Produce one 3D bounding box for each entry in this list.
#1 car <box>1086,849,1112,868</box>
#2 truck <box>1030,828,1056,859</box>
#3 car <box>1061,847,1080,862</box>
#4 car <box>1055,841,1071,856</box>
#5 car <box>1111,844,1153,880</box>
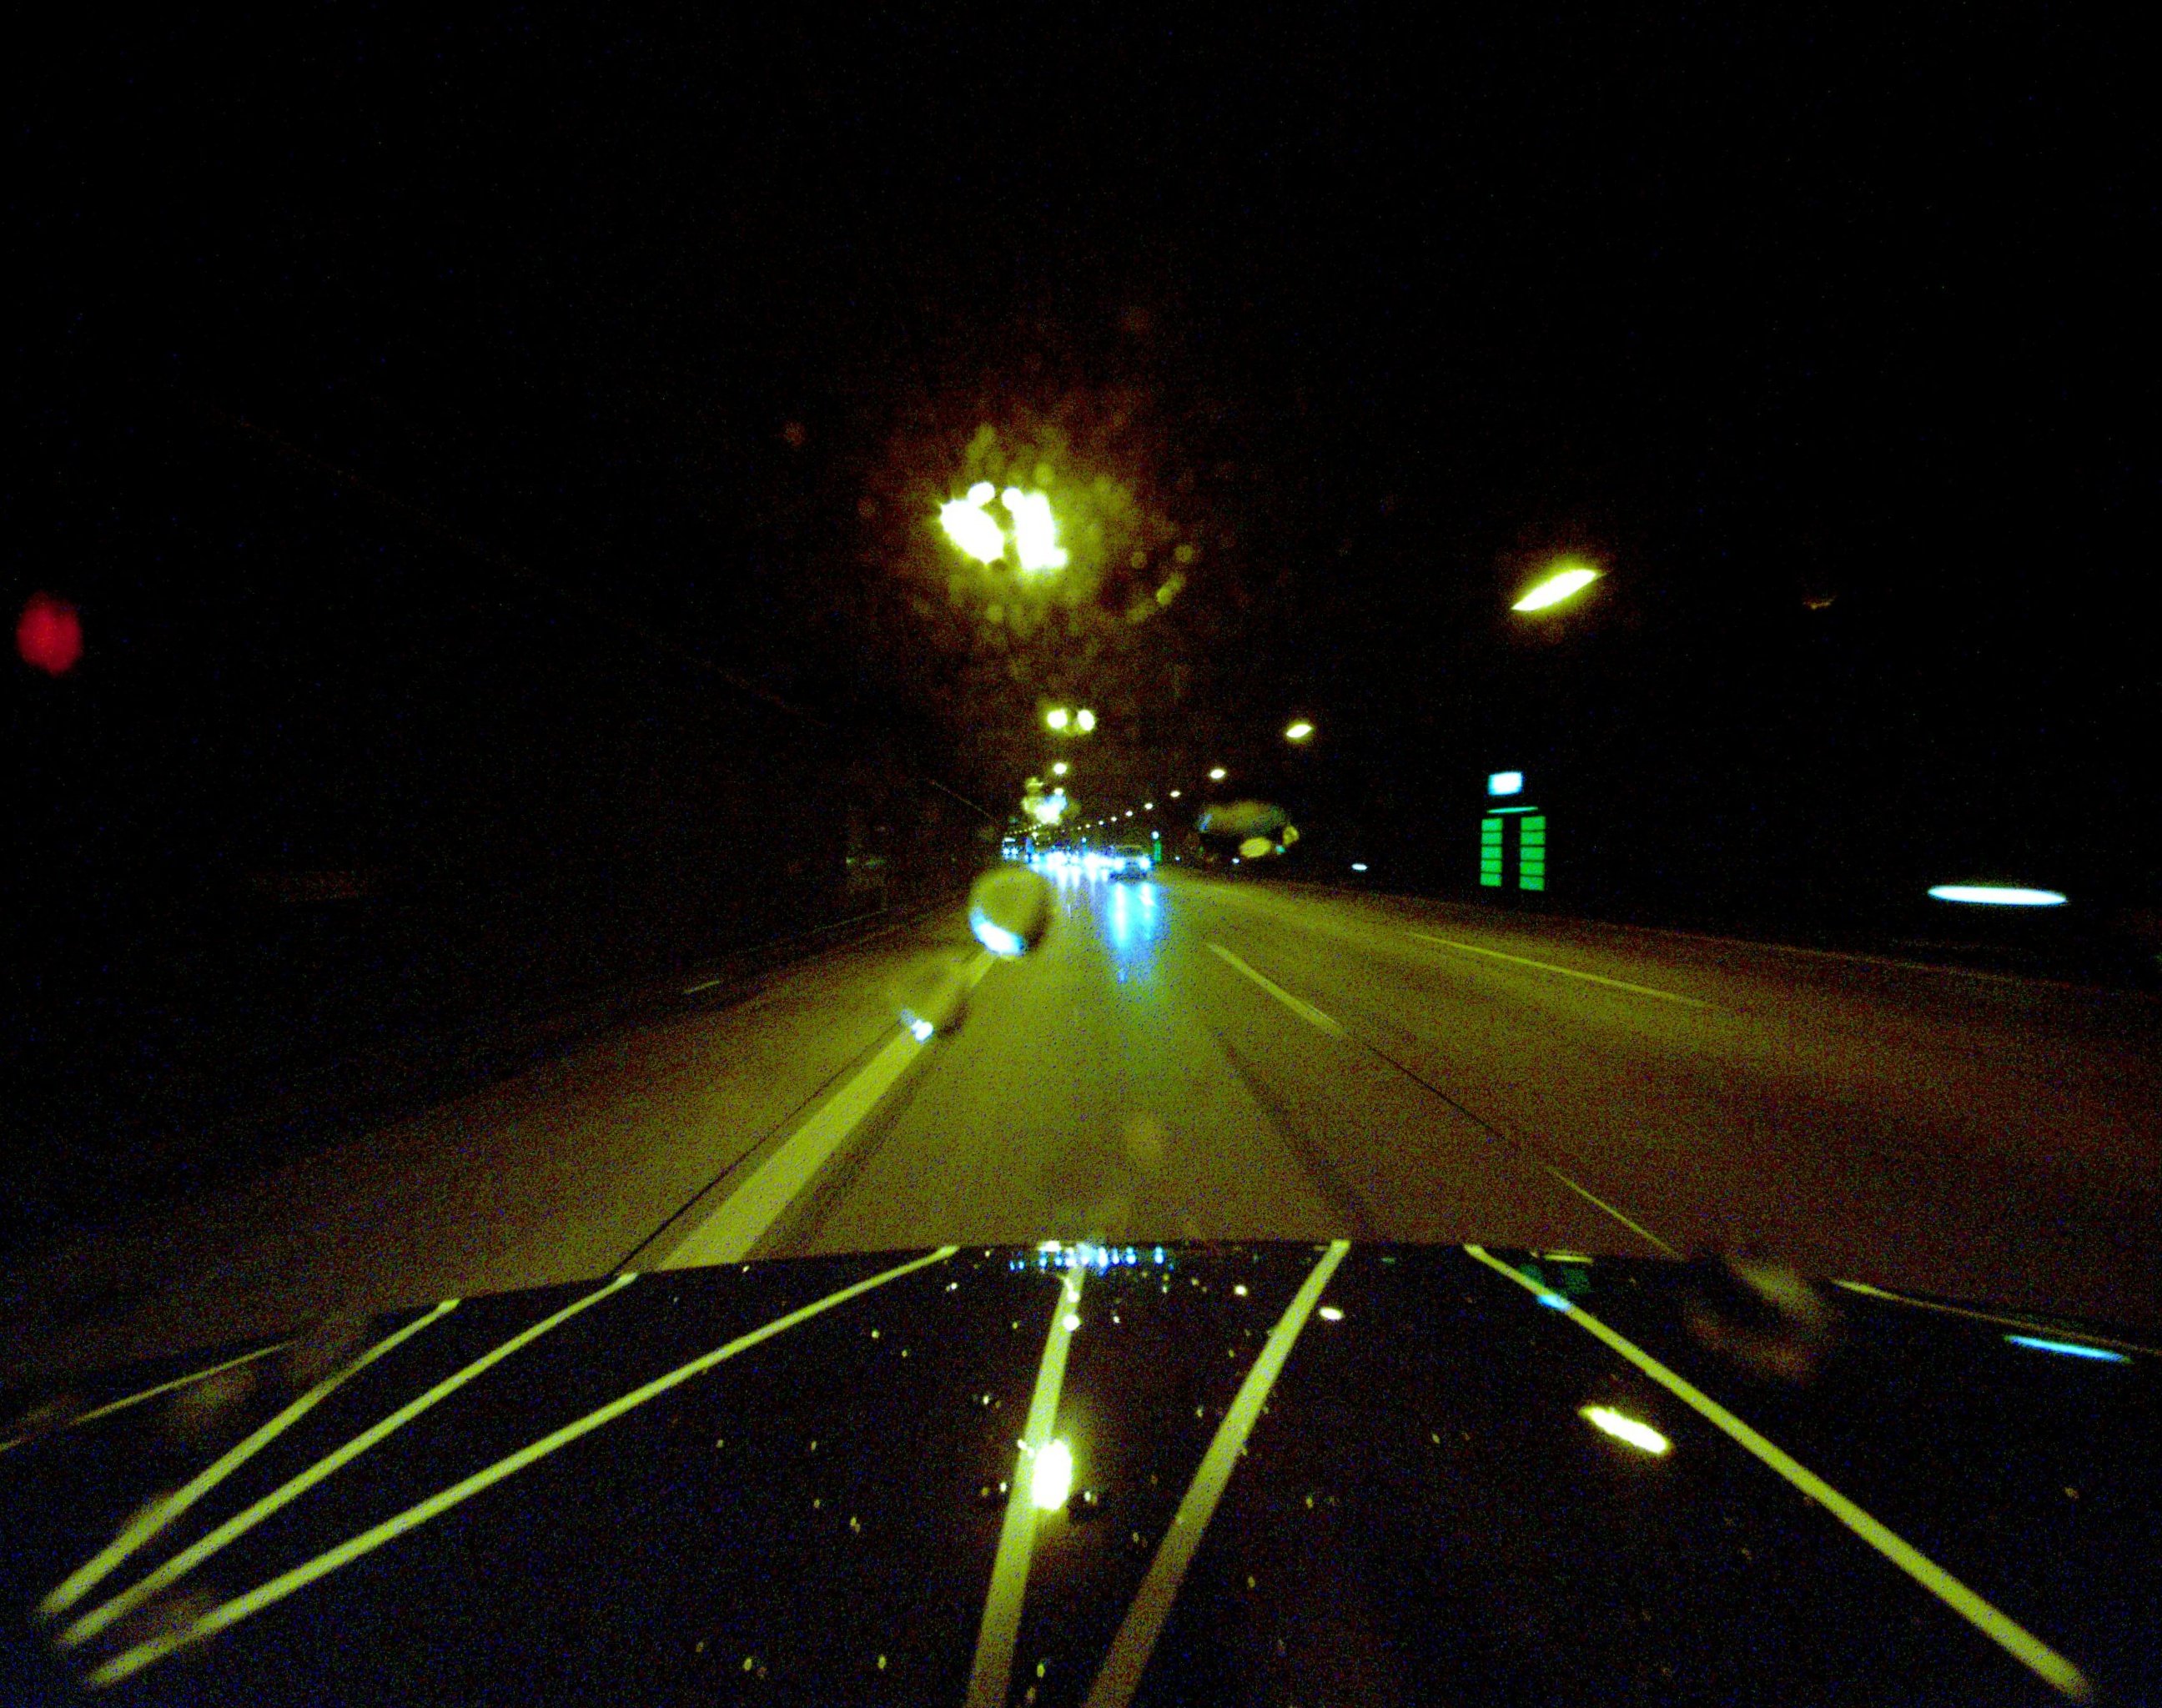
[{"bbox_3d":[1.624,0.377,70.205,1.911,1.637,3.998,-1,0,-5],"label":"car"},{"bbox_3d":[-5.507,-1.568,108.047,3.144,4.137,7.380,-2,2,-7],"label":"truck"},{"bbox_3d":[-1.221,0.069,85.726,1.759,1.567,3.997,-1,0,-6],"label":"car"},{"bbox_3d":[-2.786,-0.843,117.228,2.000,2.003,3.995,-2,3,-7],"label":"car"},{"bbox_3d":[2.985,0.466,45.191,1.999,2.002,4.359,-1,0,-2],"label":"car"}]
